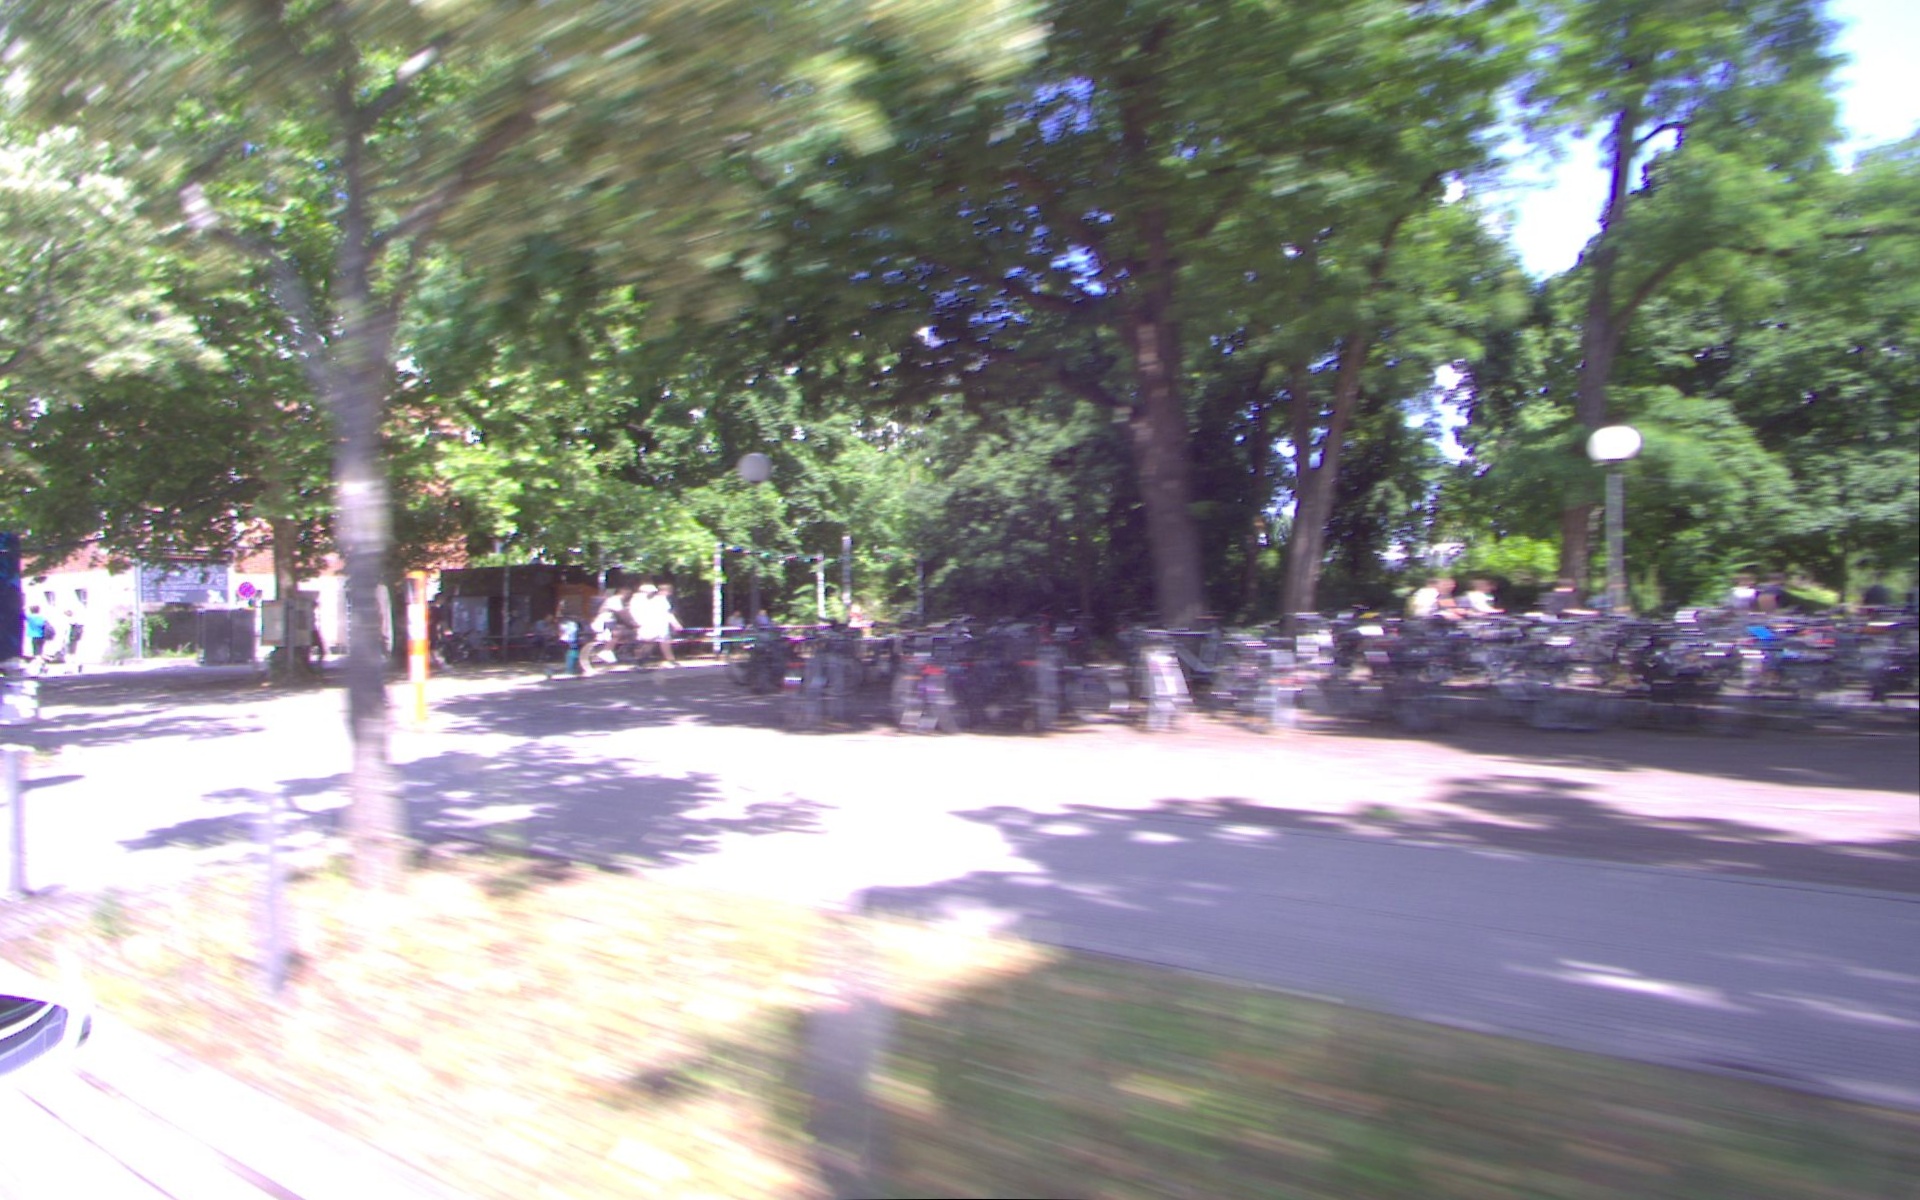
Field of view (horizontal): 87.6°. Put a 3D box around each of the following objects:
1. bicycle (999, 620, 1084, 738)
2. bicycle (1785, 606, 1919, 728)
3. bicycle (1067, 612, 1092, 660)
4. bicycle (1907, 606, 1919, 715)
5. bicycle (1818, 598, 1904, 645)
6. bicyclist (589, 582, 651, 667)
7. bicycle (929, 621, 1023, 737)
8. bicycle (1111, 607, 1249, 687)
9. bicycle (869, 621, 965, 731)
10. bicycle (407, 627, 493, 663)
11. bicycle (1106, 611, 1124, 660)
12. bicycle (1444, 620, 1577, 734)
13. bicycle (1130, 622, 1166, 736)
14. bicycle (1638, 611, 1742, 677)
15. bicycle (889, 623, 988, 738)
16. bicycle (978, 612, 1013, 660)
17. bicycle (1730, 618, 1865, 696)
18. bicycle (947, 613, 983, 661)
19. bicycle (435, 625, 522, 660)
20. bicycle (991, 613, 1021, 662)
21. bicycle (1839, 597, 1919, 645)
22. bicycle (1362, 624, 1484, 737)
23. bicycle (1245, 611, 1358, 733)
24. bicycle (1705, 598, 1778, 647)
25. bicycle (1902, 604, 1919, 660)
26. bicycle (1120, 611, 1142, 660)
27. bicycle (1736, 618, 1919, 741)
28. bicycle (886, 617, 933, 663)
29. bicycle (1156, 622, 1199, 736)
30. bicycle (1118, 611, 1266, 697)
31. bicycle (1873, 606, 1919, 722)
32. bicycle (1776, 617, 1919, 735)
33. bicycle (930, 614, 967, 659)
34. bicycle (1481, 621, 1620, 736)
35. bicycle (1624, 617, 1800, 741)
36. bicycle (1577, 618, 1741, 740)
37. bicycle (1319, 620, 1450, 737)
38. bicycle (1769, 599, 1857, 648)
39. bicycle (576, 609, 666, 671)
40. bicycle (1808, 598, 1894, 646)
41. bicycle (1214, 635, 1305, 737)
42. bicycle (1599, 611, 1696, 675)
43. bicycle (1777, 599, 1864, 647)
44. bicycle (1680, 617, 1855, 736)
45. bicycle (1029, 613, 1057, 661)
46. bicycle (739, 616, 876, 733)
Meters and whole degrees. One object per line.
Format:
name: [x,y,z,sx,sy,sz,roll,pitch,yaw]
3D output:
bicycle: [0.895,0.775,10.515,0.397,1.096,1.946,0,0,20]
bicycle: [9.555,0.658,10.420,0.395,1.186,1.793,0,0,-2]
bicycle: [2.819,0.823,23.514,0.469,1.053,1.831,-1,0,10]
bicycle: [10.608,0.649,10.052,0.395,1.186,1.845,0,0,-2]
bicycle: [21.692,0.504,24.144,0.342,1.108,1.608,-1,0,-17]
bicyclist: [-7.105,0.513,20.934,1.058,1.753,0.531,-1,2,12]
bicycle: [0.212,0.784,10.666,0.397,1.096,1.946,0,0,20]
bicycle: [3.088,0.660,14.137,1.868,1.097,0.478,-1,1,11]
bicycle: [-0.443,0.800,11.192,0.431,1.096,1.769,0,0,20]
bicycle: [-16.437,1.422,32.335,0.773,1.085,2.387,-1,-1,38]
bicycle: [3.581,0.797,23.049,0.341,1.053,1.752,-1,0,10]
bicycle: [5.617,0.745,10.323,0.374,1.042,1.793,0,0,0]
bicycle: [1.988,0.785,10.684,0.319,1.073,1.913,0,0,9]
bicycle: [11.980,0.695,16.493,0.371,0.992,1.903,-1,0,2]
bicycle: [-0.189,0.808,10.804,0.397,1.096,1.946,0,0,20]
bicycle: [0.860,0.843,23.903,0.469,1.053,1.958,-1,0,12]
bicycle: [11.827,0.773,14.212,0.371,0.992,1.903,-1,0,2]
bicycle: [0.134,0.864,23.923,0.427,1.053,1.958,-1,0,12]
bicycle: [-15.337,1.355,31.951,0.775,1.085,2.383,-2,-3,43]
bicycle: [1.065,0.850,23.062,0.426,1.053,1.783,-1,0,10]
bicycle: [22.301,0.488,24.230,0.342,1.108,1.608,-1,0,-17]
bicycle: [4.726,0.781,10.341,0.432,1.042,1.797,0,0,0]
bicycle: [3.554,0.707,10.570,0.485,1.170,1.738,0,0,-5]
bicycle: [18.239,0.515,23.414,0.330,1.108,1.610,-1,0,-6]
bicycle: [17.234,0.561,17.229,0.396,0.992,1.596,-1,0,-7]
bicycle: [3.929,0.792,22.983,0.469,1.053,1.752,-1,0,10]
bicycle: [8.509,0.726,9.866,0.418,1.084,1.793,0,0,4]
bicycle: [-1.183,0.939,23.951,0.601,0.992,1.958,-1,0,13]
bicycle: [2.287,0.781,10.625,0.319,1.073,1.913,0,0,9]
bicycle: [3.065,0.717,13.326,1.868,1.097,0.478,-1,1,11]
bicycle: [9.976,0.649,9.795,0.395,1.186,1.793,0,0,-2]
bicycle: [9.120,0.717,9.982,0.418,1.084,1.793,0,0,-4]
bicycle: [-0.262,0.866,24.125,0.430,0.992,1.958,-1,0,12]
bicycle: [5.968,0.751,10.224,0.374,1.042,1.793,0,0,0]
bicycle: [7.327,0.724,9.860,0.418,1.084,1.793,0,0,2]
bicycle: [6.899,0.733,9.984,0.418,1.084,1.793,0,0,2]
bicycle: [4.265,0.750,10.192,0.485,1.066,1.738,0,0,-5]
bicycle: [20.268,0.546,23.820,0.342,1.108,1.605,-1,1,-25]
bicycle: [-7.083,0.831,20.937,1.705,1.269,0.531,-1,2,12]
bicycle: [21.367,0.515,24.040,0.342,1.108,1.608,-1,0,-17]
bicycle: [3.056,0.843,10.353,0.485,0.921,1.738,0,0,3]
bicycle: [11.580,0.693,16.928,0.371,0.992,1.903,-1,0,2]
bicycle: [20.577,0.534,23.977,0.342,1.108,1.605,-1,1,-25]
bicycle: [8.122,0.723,10.172,0.418,1.084,1.793,0,0,4]
bicycle: [1.953,0.843,23.521,0.469,1.053,1.783,-1,0,10]
bicycle: [-1.662,0.777,11.311,0.640,1.182,2.017,0,0,20]
